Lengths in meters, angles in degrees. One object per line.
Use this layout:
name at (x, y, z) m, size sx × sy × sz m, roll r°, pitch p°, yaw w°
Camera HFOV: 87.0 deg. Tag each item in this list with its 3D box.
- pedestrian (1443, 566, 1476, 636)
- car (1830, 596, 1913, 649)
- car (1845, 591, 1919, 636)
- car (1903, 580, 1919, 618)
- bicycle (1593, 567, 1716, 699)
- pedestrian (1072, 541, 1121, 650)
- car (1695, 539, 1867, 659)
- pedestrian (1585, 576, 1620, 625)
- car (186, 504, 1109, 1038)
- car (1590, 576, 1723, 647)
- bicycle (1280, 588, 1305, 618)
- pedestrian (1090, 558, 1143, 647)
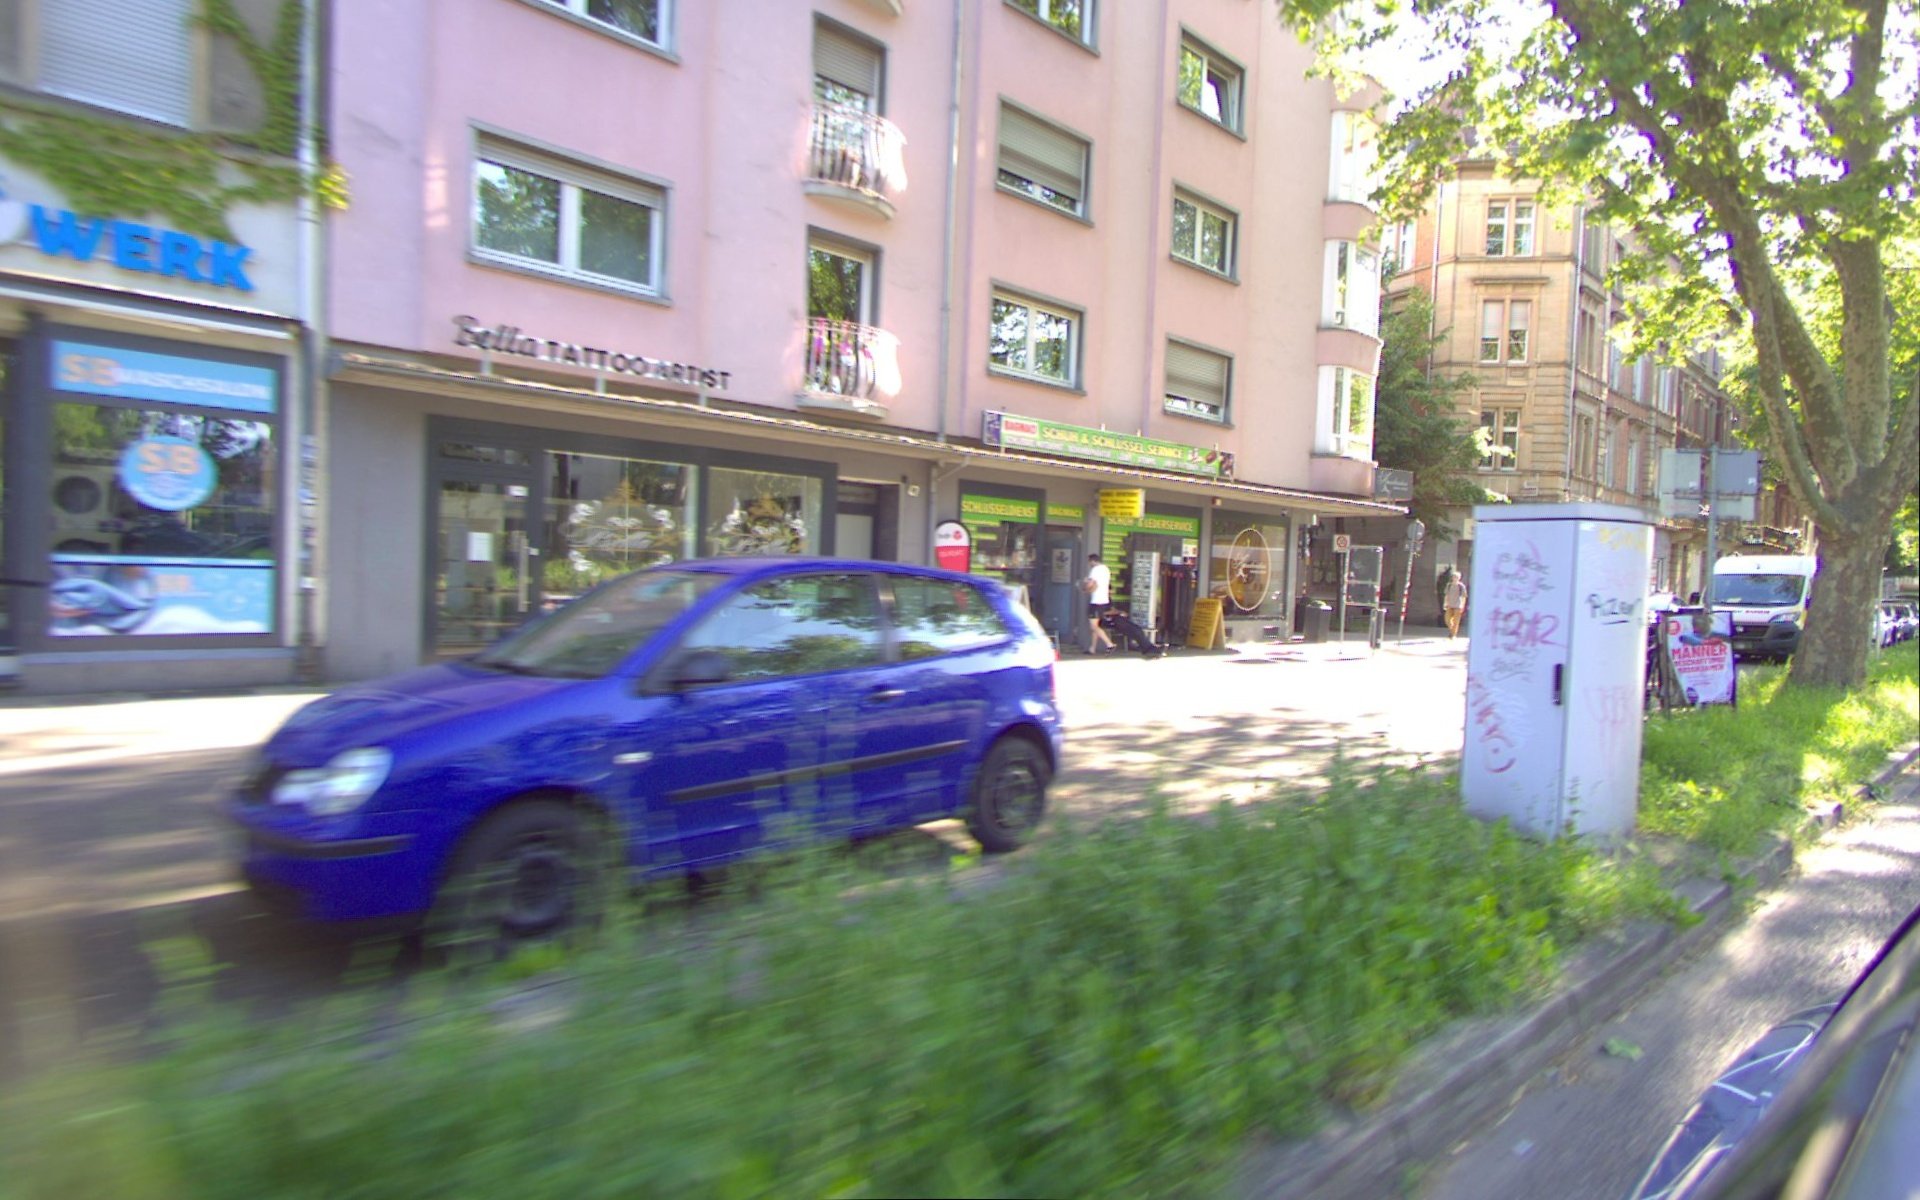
pedestrian at (13.422, 0.015, 27.185) m, size 0.612 × 1.838 × 0.622 m, roll 3°, pitch 2°, yaw 39°
car at (29.084, 0.676, 32.249) m, size 4.119 × 1.531 × 1.647 m, roll 0°, pitch 2°, yaw -44°
car at (33.437, 0.462, 36.501) m, size 3.931 × 1.482 × 1.752 m, roll 0°, pitch 3°, yaw -42°
car at (46.217, -0.006, 48.021) m, size 3.858 × 1.764 × 1.713 m, roll 0°, pitch 2°, yaw -41°
bicycle at (7.016, 0.309, 10.192) m, size 1.718 × 1.229 × 0.466 m, roll 1°, pitch 2°, yaw -38°
pedestrian at (2.278, -0.078, 16.867) m, size 0.571 × 1.775 × 0.418 m, roll 1°, pitch 5°, yaw -41°
car at (19.074, -0.048, 23.408) m, size 5.753 × 2.464 × 2.078 m, roll 0°, pitch 2°, yaw -41°
pedestrian at (21.442, 0.022, 33.777) m, size 0.718 × 1.585 × 0.738 m, roll 1°, pitch 2°, yaw -40°
car at (-1.144, 0.444, 4.701) m, size 3.764 × 1.497 × 1.592 m, roll 0°, pitch 3°, yaw -43°
car at (17.809, 0.260, 25.828) m, size 4.064 × 1.621 × 1.814 m, roll 1°, pitch 2°, yaw -41°
bicycle at (11.876, 0.104, 36.122) m, size 0.537 × 1.018 × 1.887 m, roll 3°, pitch 2°, yaw 26°
pedestrian at (2.722, 0.035, 17.633) m, size 0.507 × 1.488 × 0.698 m, roll 1°, pitch 2°, yaw -41°
